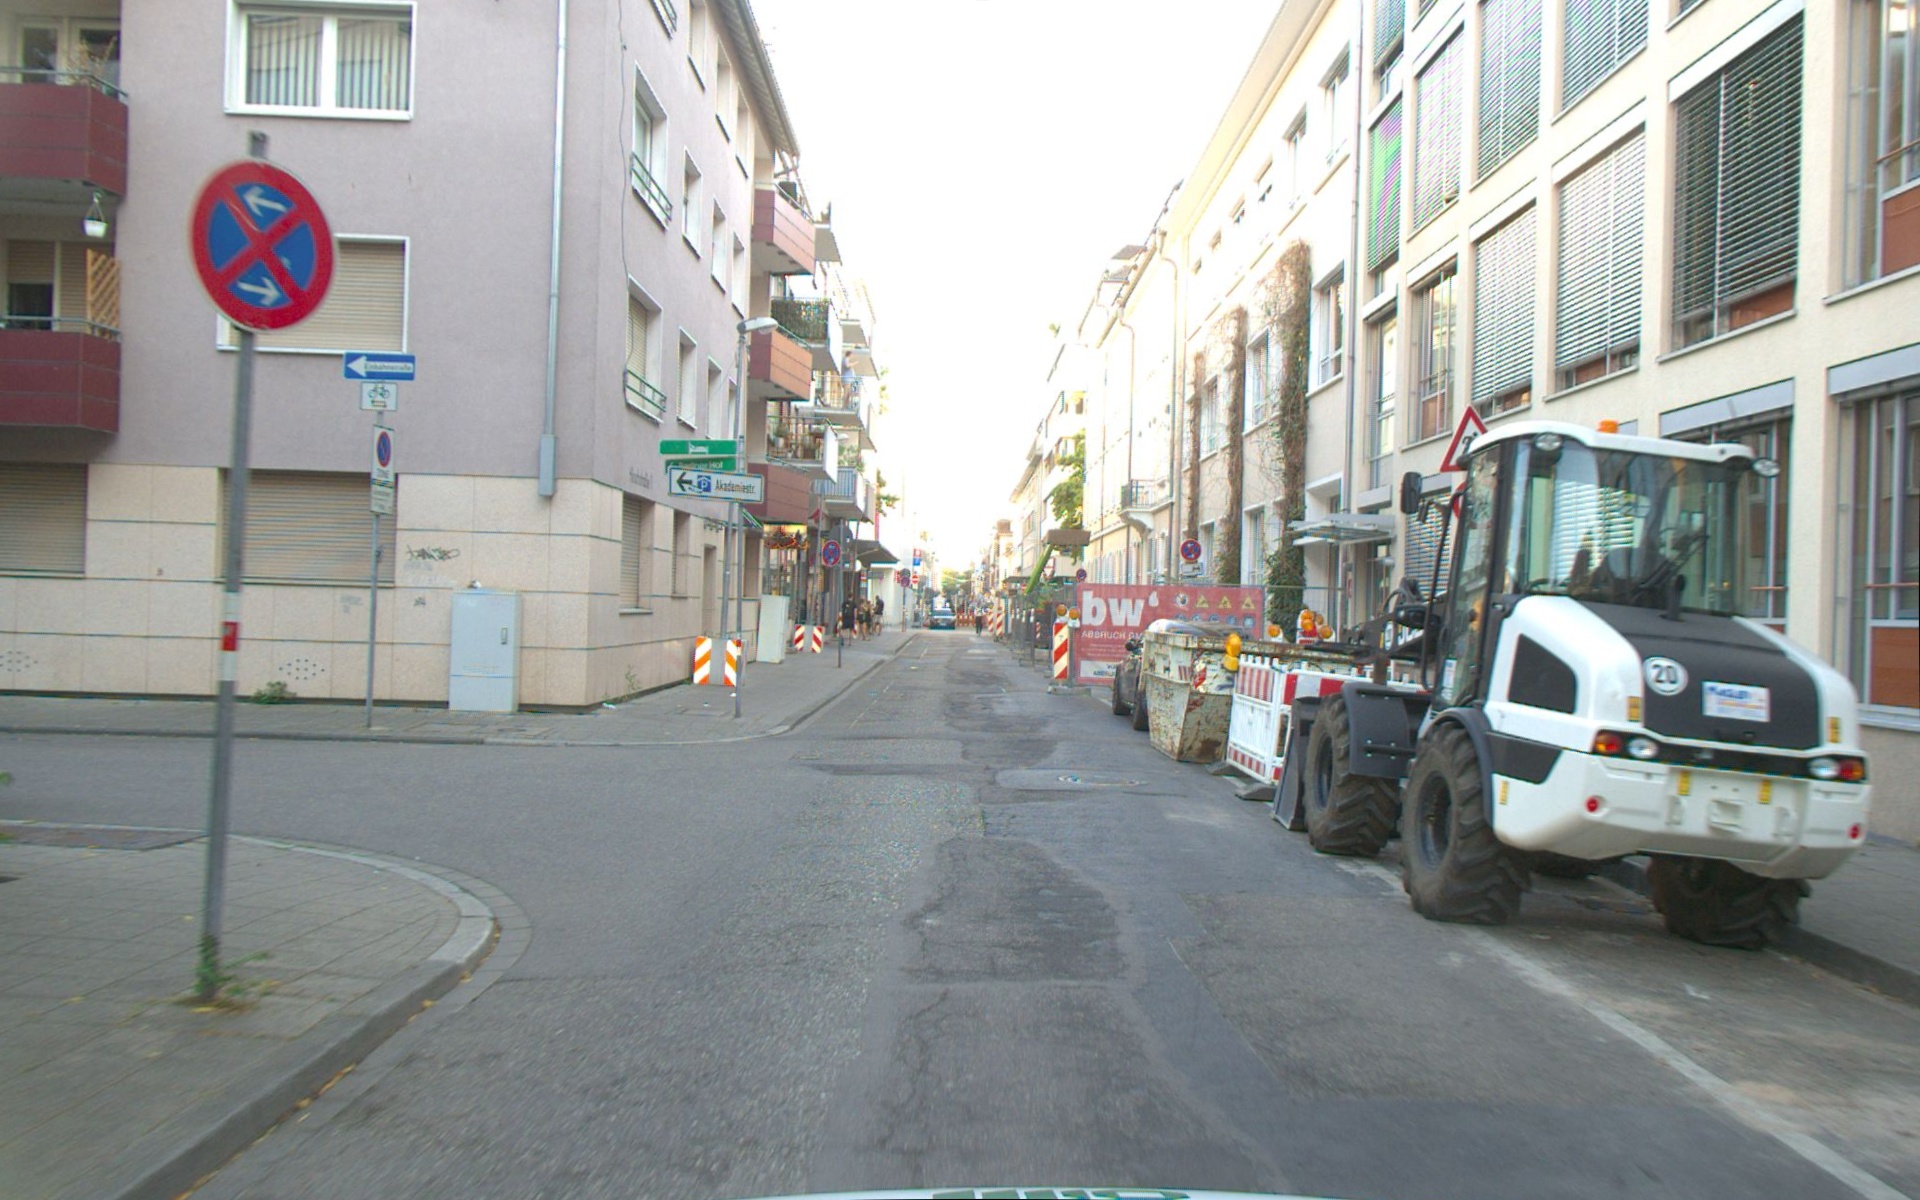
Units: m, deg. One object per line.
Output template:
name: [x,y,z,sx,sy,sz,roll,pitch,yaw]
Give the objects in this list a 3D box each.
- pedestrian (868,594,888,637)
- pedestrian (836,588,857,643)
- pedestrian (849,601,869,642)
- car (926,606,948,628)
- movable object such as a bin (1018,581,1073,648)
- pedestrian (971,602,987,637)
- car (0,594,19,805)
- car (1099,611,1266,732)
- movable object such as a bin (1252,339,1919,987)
pedestrian: [-3.714,0.717,74.709,0.648,1.919,0.567,2,-1,-34]
pedestrian: [-3.845,0.541,56.198,0.616,1.840,0.647,1,-1,1]
pedestrian: [-3.989,0.847,65.061,0.634,1.592,0.628,2,-1,-15]
car: [-1.607,1.185,115.187,1.444,1.422,3.331,1,-1,0]
movable object such as a bin: [4.278,0.674,83.699,2.420,3.185,4.297,2,1,0]
pedestrian: [0.973,0.997,84.774,0.705,1.770,0.647,1,-1,-3]
car: [-8.860,0.652,10.919,4.257,1.483,1.685,1,-1,-2]
car: [2.982,0.918,23.002,1.659,1.431,4.479,2,0,0]
movable object such as a bin: [3.302,0.282,9.660,2.122,2.641,5.542,2,0,0]
